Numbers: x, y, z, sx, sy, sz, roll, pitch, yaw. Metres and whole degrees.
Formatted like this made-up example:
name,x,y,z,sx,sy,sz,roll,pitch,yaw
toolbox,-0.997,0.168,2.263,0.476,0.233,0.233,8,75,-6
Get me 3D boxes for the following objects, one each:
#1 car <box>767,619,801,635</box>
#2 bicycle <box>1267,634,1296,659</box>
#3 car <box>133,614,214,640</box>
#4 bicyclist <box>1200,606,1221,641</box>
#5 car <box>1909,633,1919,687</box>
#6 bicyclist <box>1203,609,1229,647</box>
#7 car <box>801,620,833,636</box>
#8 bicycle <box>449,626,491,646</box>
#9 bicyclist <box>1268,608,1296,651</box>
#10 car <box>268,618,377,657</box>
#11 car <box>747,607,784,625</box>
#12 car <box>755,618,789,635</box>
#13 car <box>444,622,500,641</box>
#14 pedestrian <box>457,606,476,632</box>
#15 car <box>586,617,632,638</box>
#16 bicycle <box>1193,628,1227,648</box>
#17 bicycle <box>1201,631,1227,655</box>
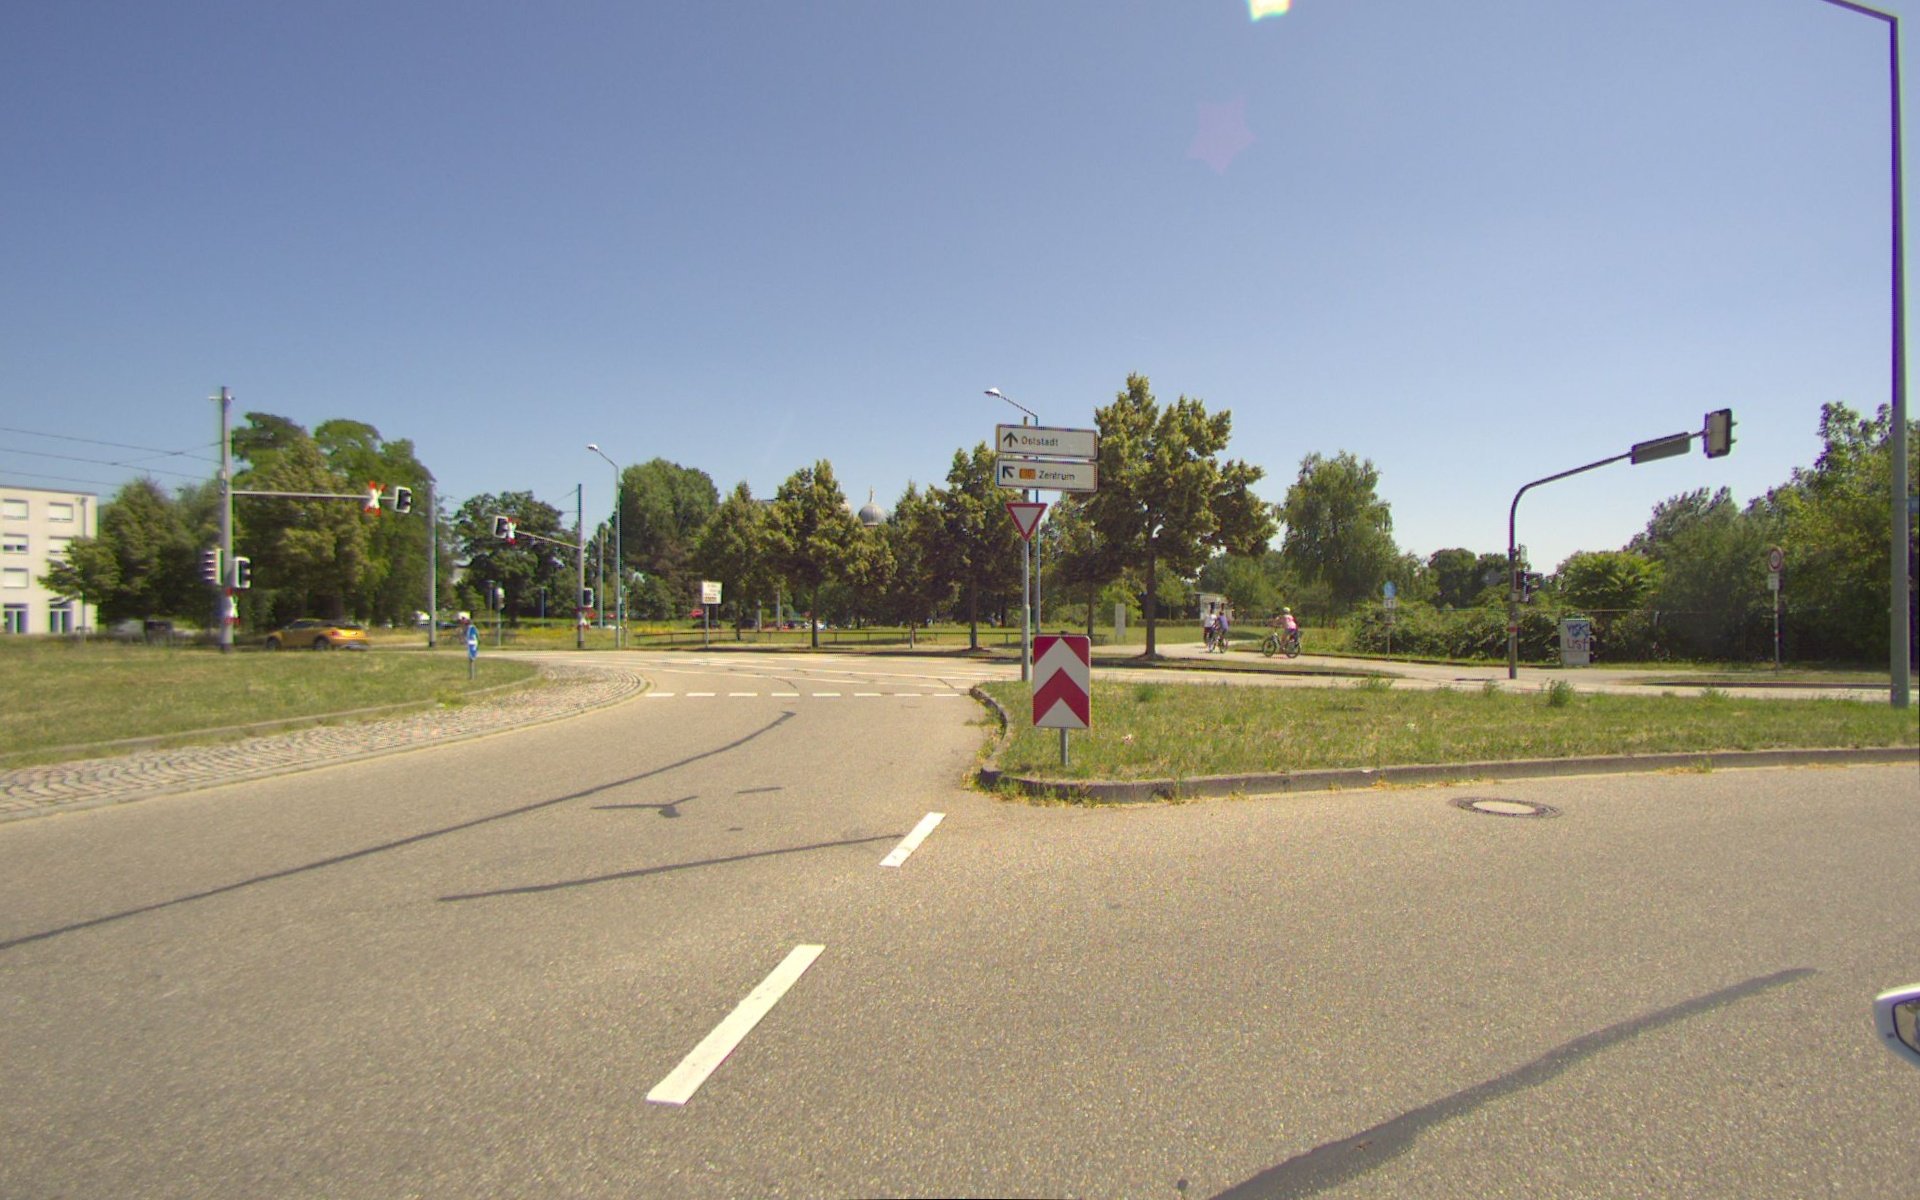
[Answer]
name,x,y,z,sx,sy,sz,roll,pitch,yaw
car,-22.379,3.447,127.823,3.922,2.040,2.000,1,-2,-3
bicycle,12.276,1.757,38.421,0.880,0.912,2.228,1,-2,14
car,-53.643,1.887,68.572,1.968,1.706,3.987,-1,-3,36
bicyclist,11.862,1.126,47.498,0.743,1.635,0.976,-1,-2,30
car,25.373,1.440,23.638,4.321,1.287,1.865,0,-1,0
bicyclist,10.751,1.167,42.158,0.941,1.552,1.186,0,0,19
car,-18.933,3.707,133.098,3.919,2.040,2.001,0,-2,5
bicycle,-28.607,2.108,58.681,2.022,1.129,0.728,1,-2,-11
bicyclist,12.294,1.126,38.364,0.940,1.631,1.187,0,-2,14
car,-24.834,1.458,39.165,3.591,1.421,1.831,0,-2,22
car,-22.150,1.835,114.407,3.922,2.040,2.000,1,-2,-3
car,-23.463,3.341,125.606,3.922,2.040,2.000,1,-2,-3
car,-42.447,2.730,87.451,3.925,1.594,1.999,1,-2,-6
pedestrian,-28.770,1.101,58.614,0.804,1.469,0.708,1,-2,-12
car,-35.553,2.817,101.862,3.922,2.040,2.000,1,-2,-3
bicycle,11.815,1.801,47.401,0.728,0.924,2.923,-1,-3,31
bicycle,10.717,1.792,42.310,0.881,0.912,1.762,1,1,20
